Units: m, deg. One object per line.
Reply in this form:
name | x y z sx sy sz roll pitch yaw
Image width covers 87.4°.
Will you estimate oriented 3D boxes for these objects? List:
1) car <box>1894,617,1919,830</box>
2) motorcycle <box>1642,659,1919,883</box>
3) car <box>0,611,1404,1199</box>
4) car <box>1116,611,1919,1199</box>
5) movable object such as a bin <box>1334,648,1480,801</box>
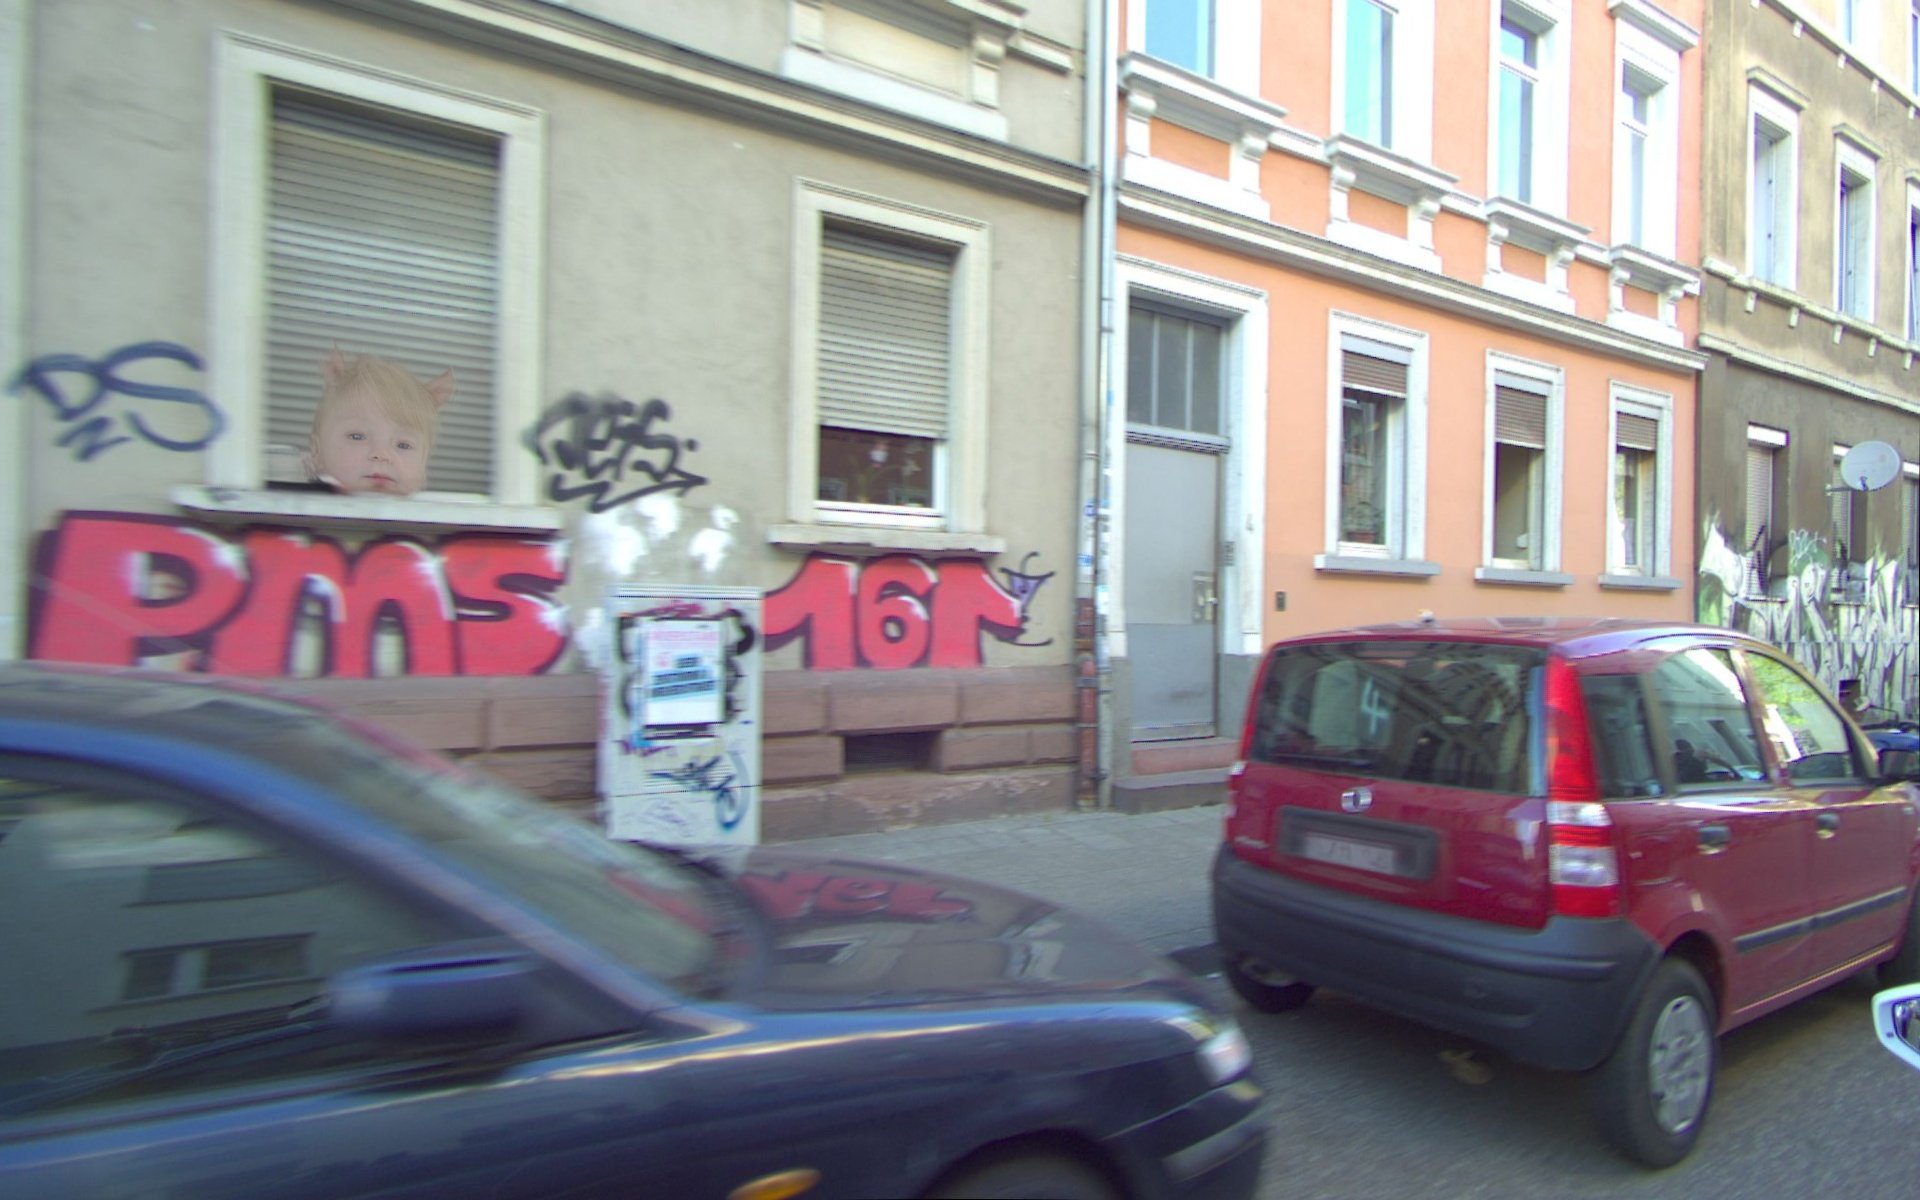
car | 8.670 0.920 7.654 2.929 1.569 1.669 1 -2 -34
motorcycle | 5.427 1.012 6.099 2.049 1.143 0.787 2 1 39
car | -1.376 0.765 1.624 4.262 1.482 1.671 1 -1 -30
car | 2.535 0.824 4.048 3.572 1.512 1.670 1 -1 -33
movable object such as a bin | 3.484 0.940 7.872 0.652 1.063 0.776 1 2 -22
